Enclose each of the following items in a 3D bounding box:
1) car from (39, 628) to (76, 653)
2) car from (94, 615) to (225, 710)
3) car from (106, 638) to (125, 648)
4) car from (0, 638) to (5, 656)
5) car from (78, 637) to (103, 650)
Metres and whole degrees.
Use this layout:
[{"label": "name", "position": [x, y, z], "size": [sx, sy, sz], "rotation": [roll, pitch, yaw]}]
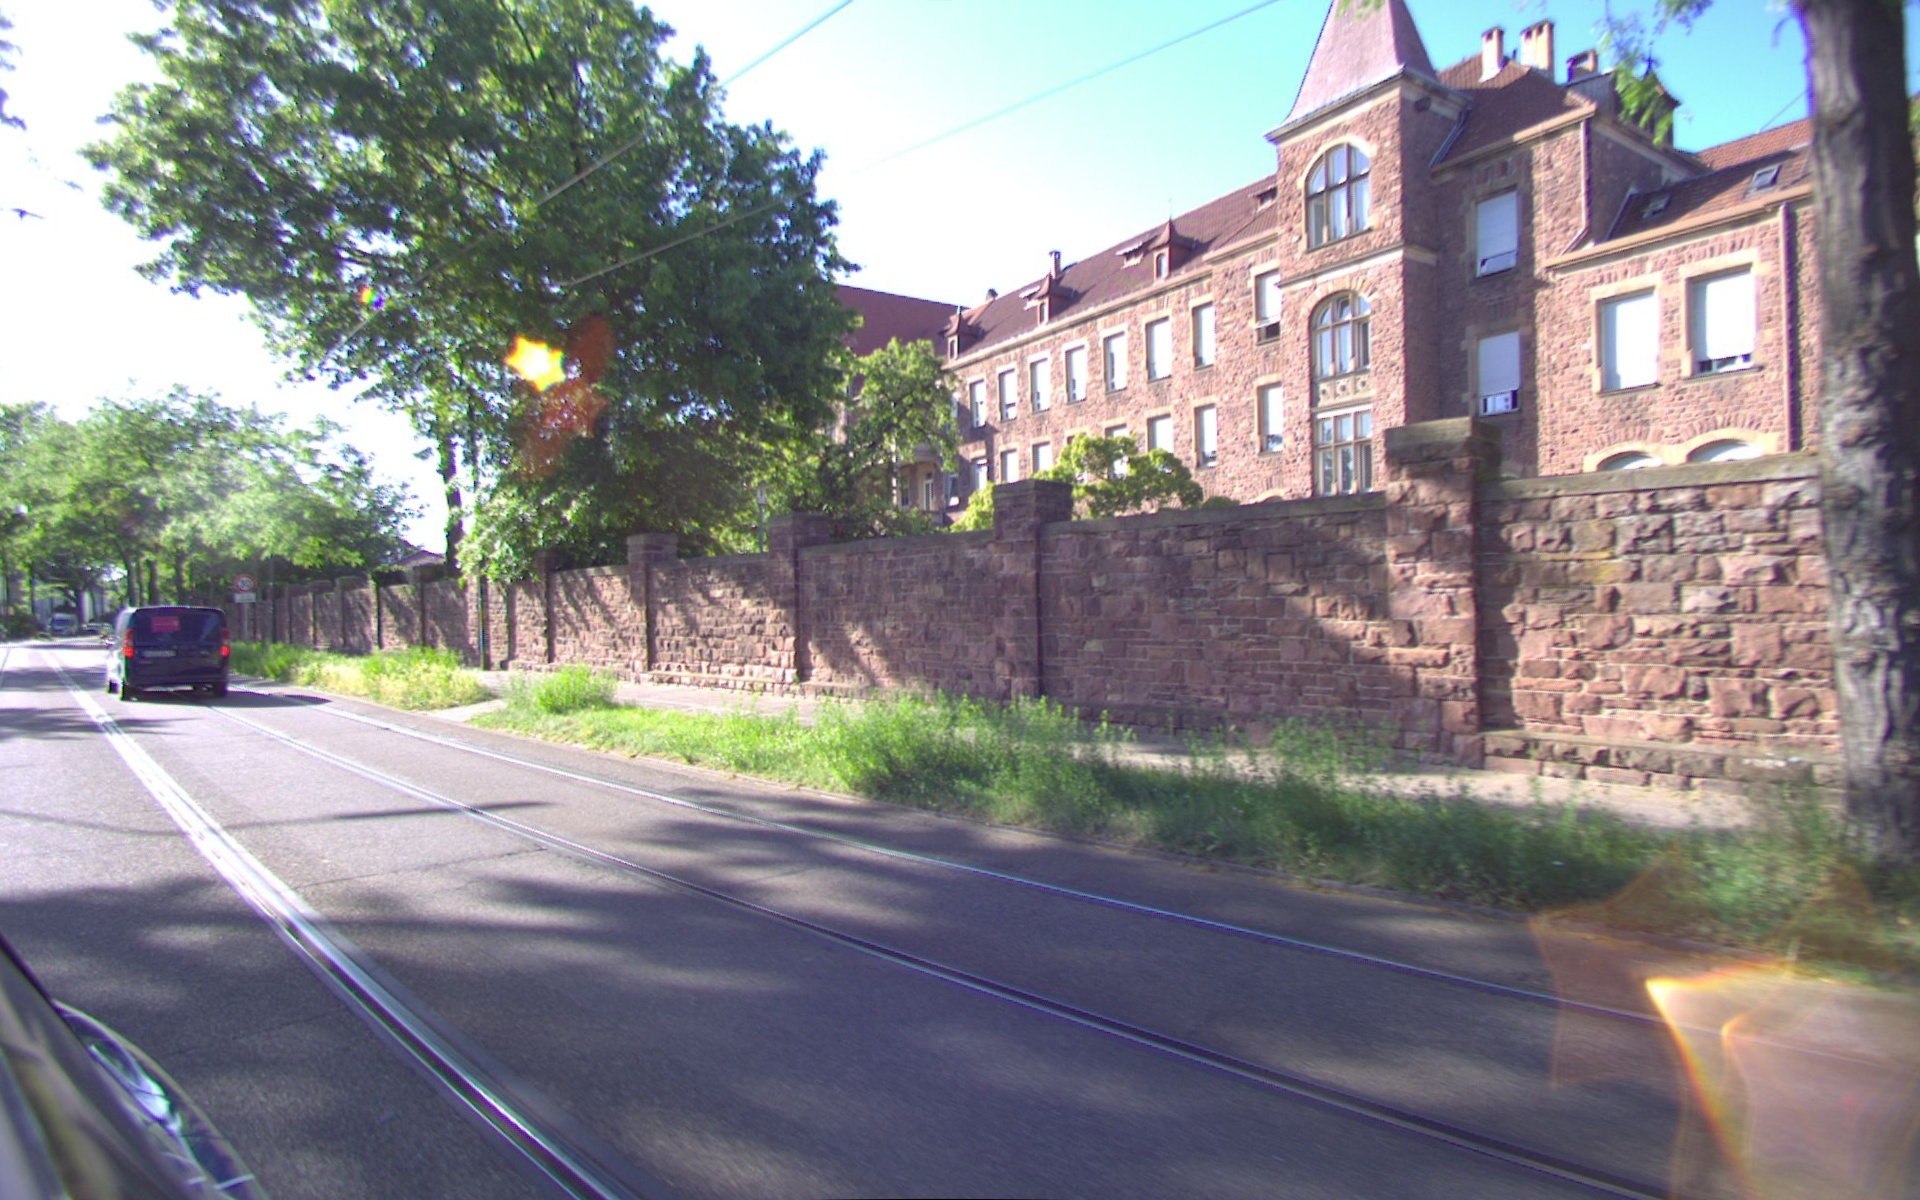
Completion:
[{"label": "car", "position": [-99.932, 4.440, 112.139], "size": [2.260, 2.609, 5.734], "rotation": [-1, -1, -34]}, {"label": "car", "position": [-16.999, 1.259, 21.427], "size": [4.339, 1.806, 1.614], "rotation": [-2, -2, 44]}, {"label": "car", "position": [-125.180, 6.410, 150.015], "size": [1.760, 1.387, 3.665], "rotation": [-1, -1, -33]}, {"label": "car", "position": [-82.012, 4.005, 85.114], "size": [1.851, 1.530, 4.660], "rotation": [-1, -1, -35]}, {"label": "car", "position": [-111.680, 5.602, 129.996], "size": [1.636, 1.547, 4.012], "rotation": [-1, -1, -30]}]
